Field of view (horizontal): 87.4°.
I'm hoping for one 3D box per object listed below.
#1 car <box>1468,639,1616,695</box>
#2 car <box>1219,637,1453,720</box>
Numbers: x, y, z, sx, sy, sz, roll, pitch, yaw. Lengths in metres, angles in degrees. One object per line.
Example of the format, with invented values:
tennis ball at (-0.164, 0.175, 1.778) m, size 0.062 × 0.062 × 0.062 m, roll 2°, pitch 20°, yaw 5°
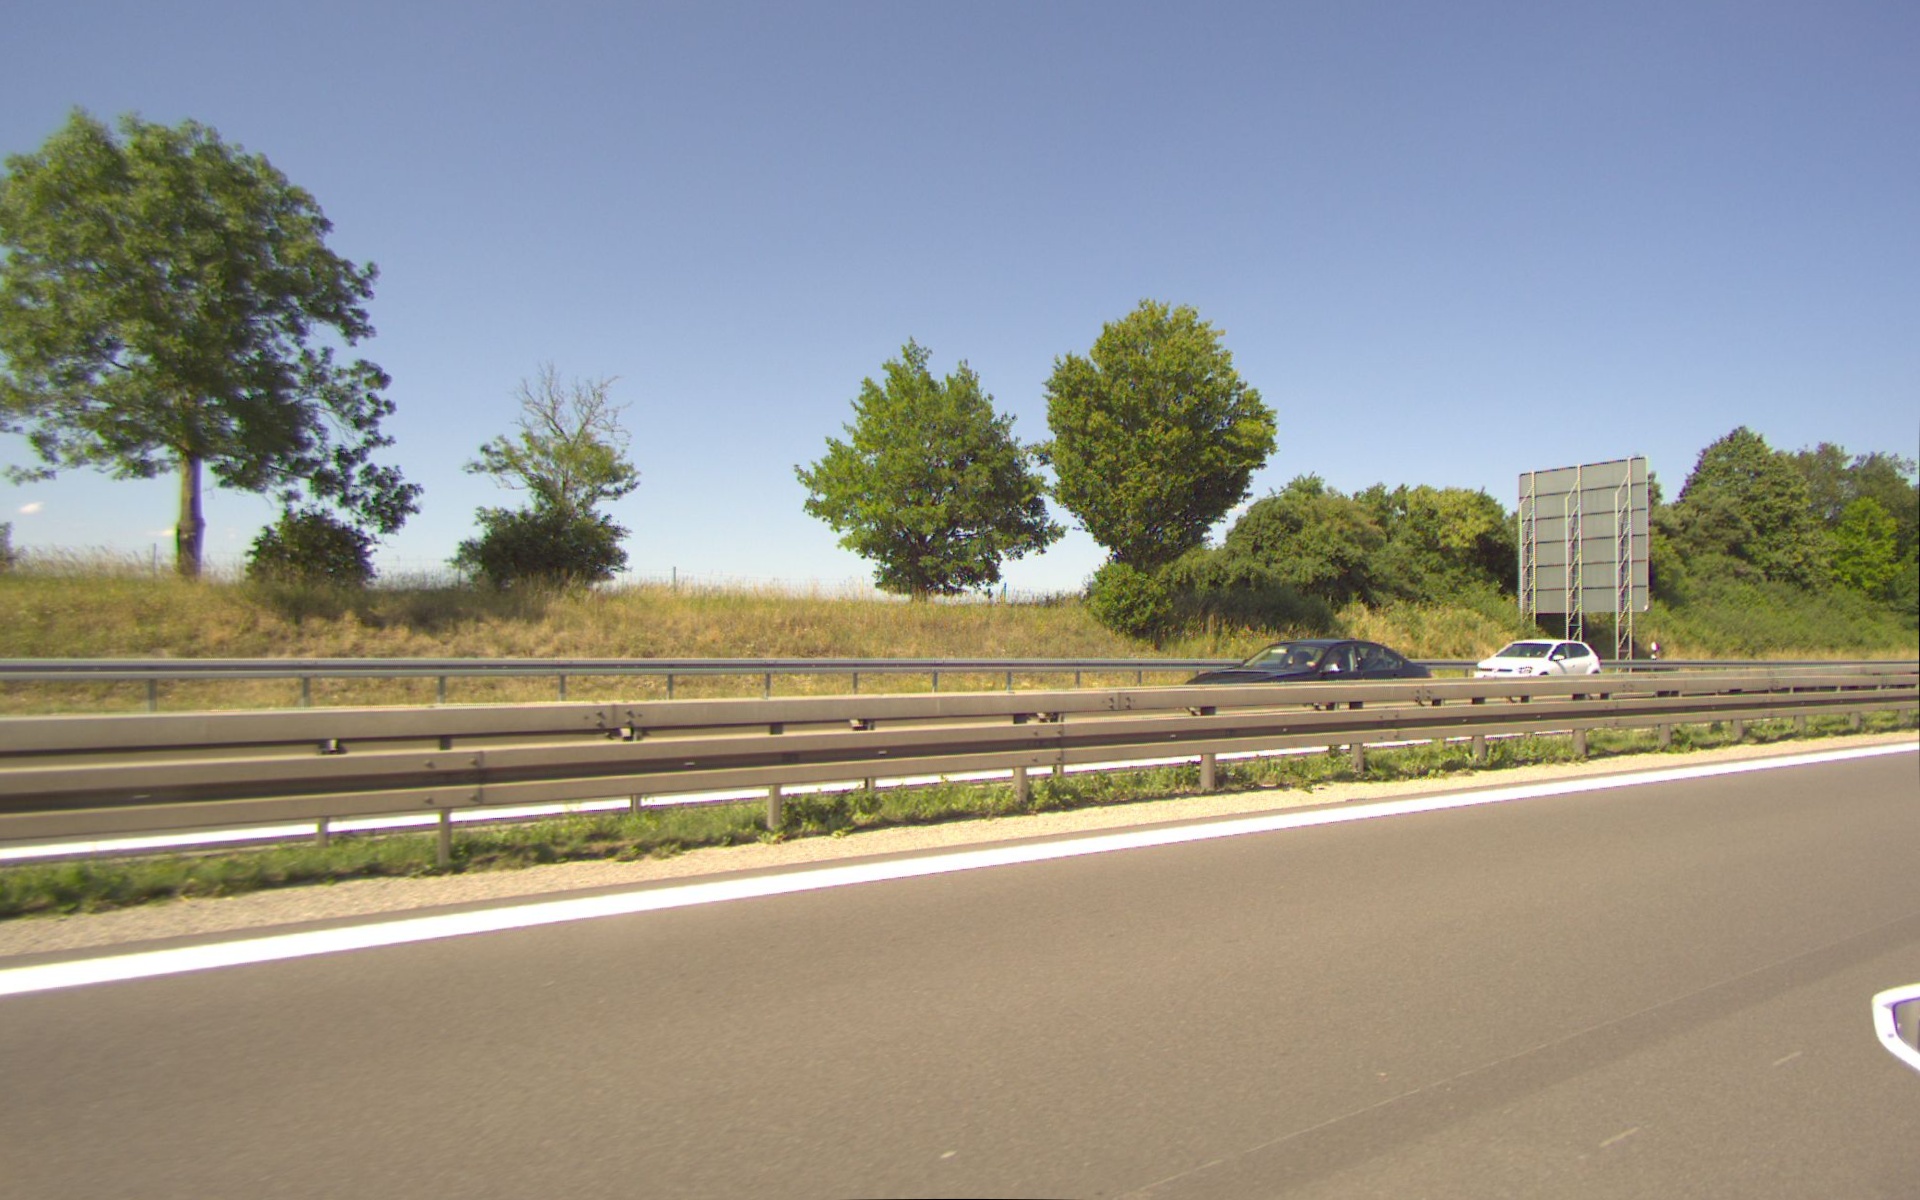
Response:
car at (15.317, 1.718, 26.401) m, size 4.182 × 1.370 × 1.515 m, roll 1°, pitch -2°, yaw -30°
car at (6.017, 1.192, 15.992) m, size 3.722 × 1.171 × 1.515 m, roll 1°, pitch -2°, yaw -30°
